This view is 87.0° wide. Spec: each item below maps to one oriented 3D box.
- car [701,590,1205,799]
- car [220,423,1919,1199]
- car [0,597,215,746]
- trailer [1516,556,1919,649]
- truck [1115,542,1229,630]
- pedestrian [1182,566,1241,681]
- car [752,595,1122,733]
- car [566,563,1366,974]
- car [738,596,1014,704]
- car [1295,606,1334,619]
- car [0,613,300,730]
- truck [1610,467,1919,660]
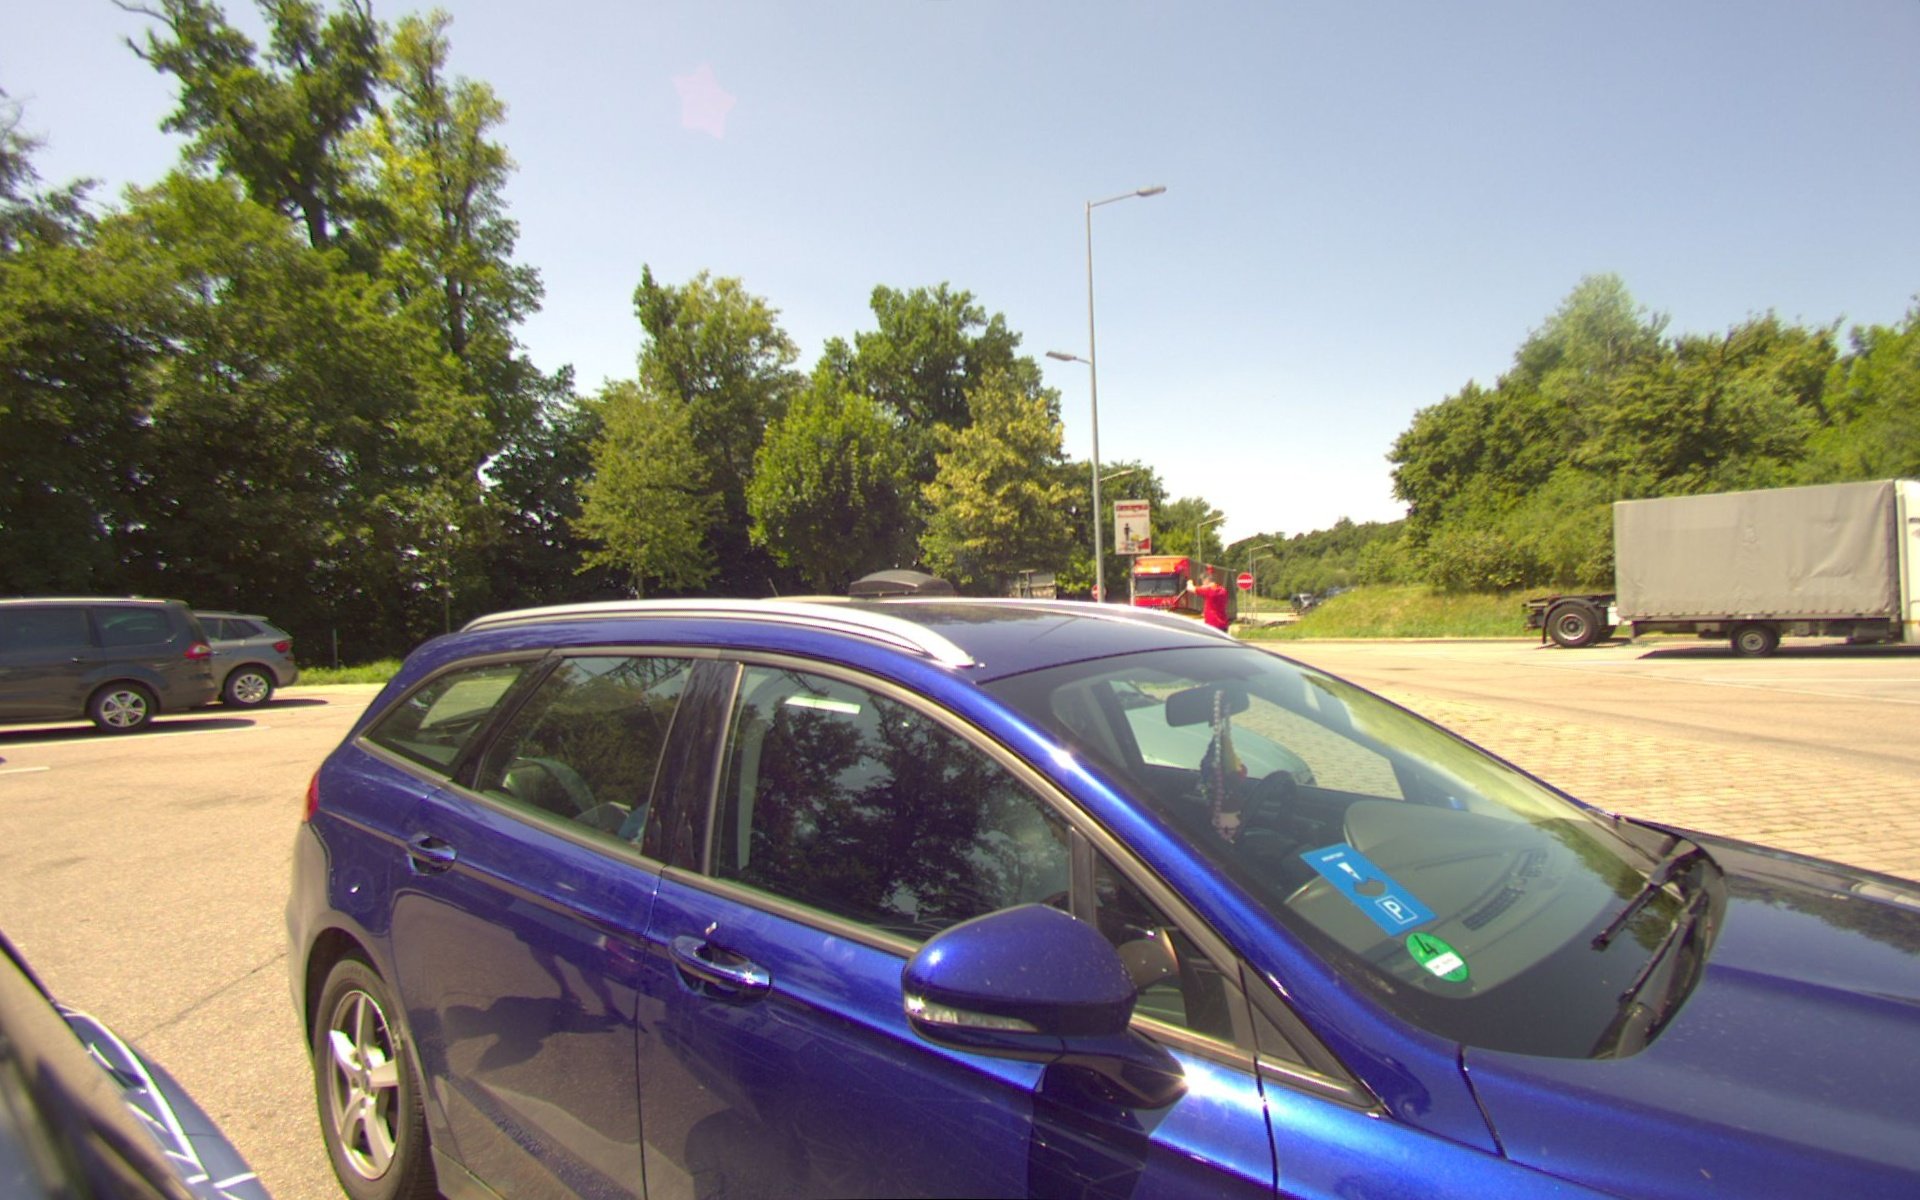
[{"bbox_3d":[-0.256,0.748,9.221,4.490,1.437,1.754,-3,-1,40],"label":"car"},{"bbox_3d":[0.242,0.660,2.148,4.490,1.502,1.851,-3,0,40],"label":"car"},{"bbox_3d":[-11.953,0.856,12.312,4.553,1.725,1.741,0,-1,-41],"label":"car"},{"bbox_3d":[17.244,0.127,23.401,7.295,1.701,2.235,-4,-1,43],"label":"trailer"},{"bbox_3d":[11.938,-0.677,55.383,3.113,4.150,15.280,-1,0,23],"label":"truck"},{"bbox_3d":[3.944,0.364,15.937,0.666,1.746,0.834,-1,-1,0],"label":"pedestrian"},{"bbox_3d":[-0.396,0.774,12.768,4.485,1.437,1.756,-3,-1,36],"label":"car"},{"bbox_3d":[-0.269,0.693,5.846,4.490,1.511,1.754,-3,-1,40],"label":"car"},{"bbox_3d":[-1.487,0.825,16.868,4.485,1.562,1.756,-3,-1,36],"label":"car"},{"bbox_3d":[49.572,1.729,141.766,2.396,1.820,8.007,-1,0,-3],"label":"car"},{"bbox_3d":[-12.607,1.001,15.476,1.687,1.515,3.943,-1,0,43],"label":"car"},{"bbox_3d":[16.817,-0.654,18.973,7.295,3.259,2.709,-4,-1,43],"label":"truck"}]
